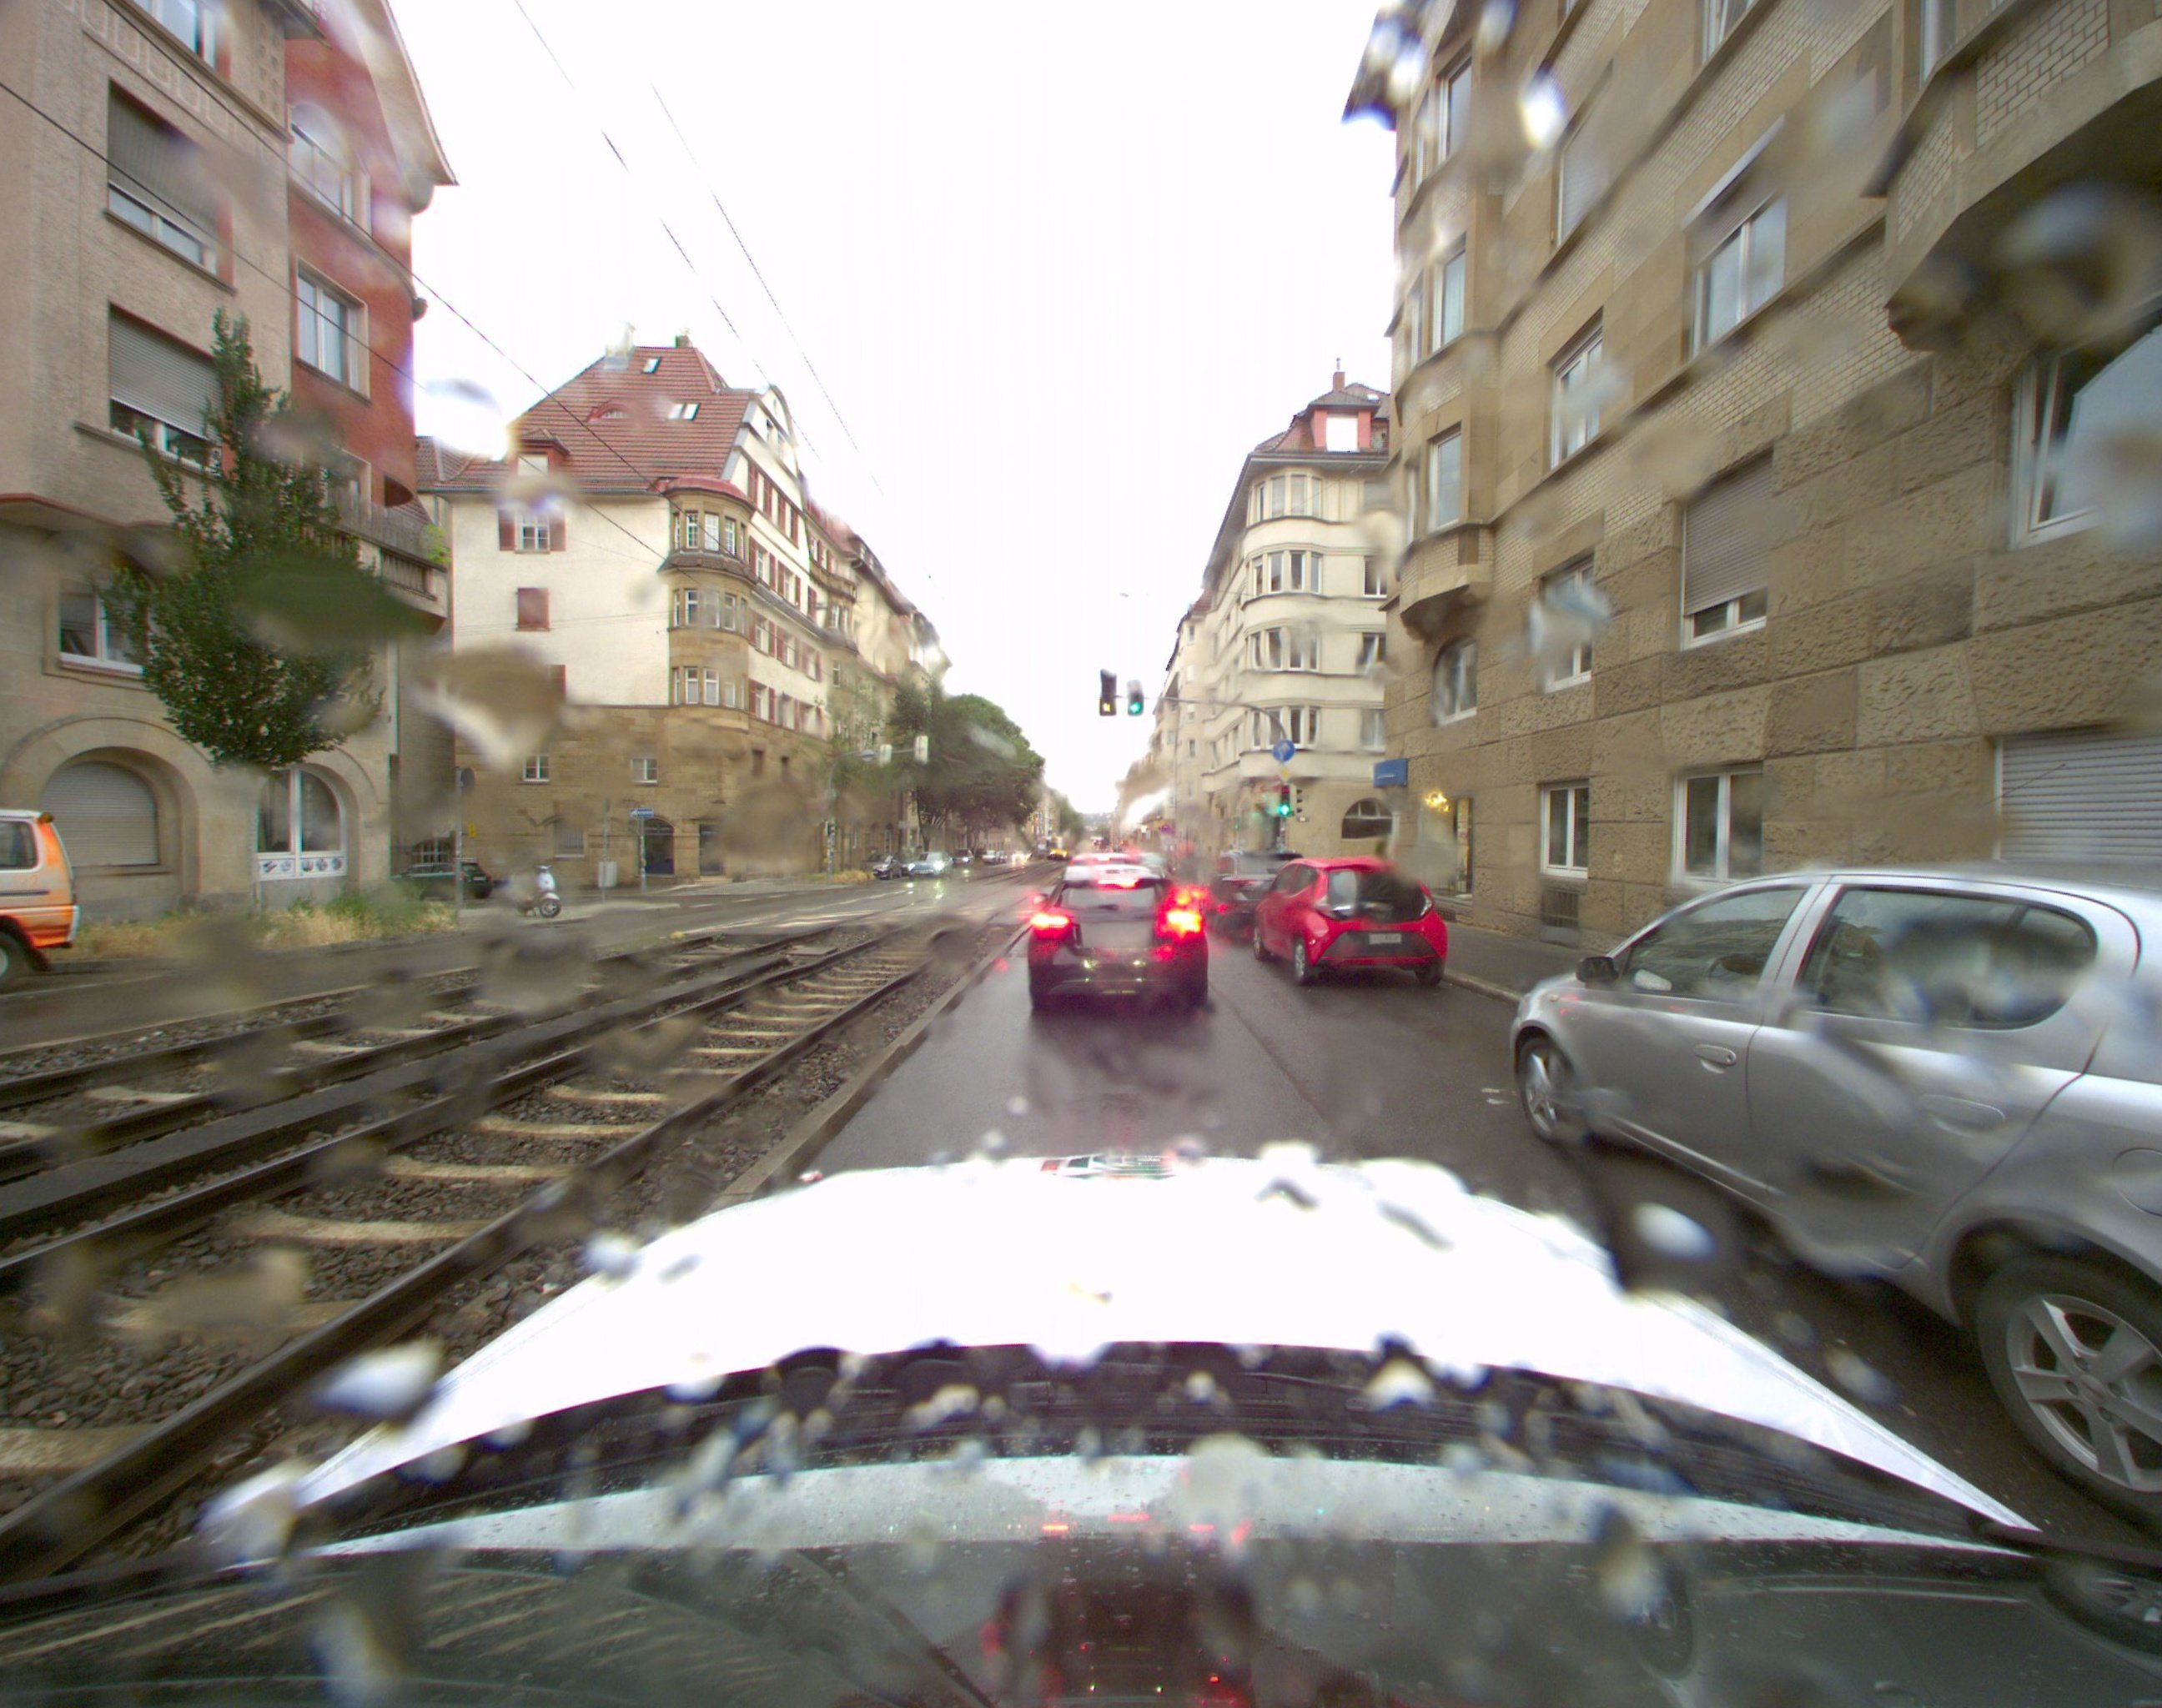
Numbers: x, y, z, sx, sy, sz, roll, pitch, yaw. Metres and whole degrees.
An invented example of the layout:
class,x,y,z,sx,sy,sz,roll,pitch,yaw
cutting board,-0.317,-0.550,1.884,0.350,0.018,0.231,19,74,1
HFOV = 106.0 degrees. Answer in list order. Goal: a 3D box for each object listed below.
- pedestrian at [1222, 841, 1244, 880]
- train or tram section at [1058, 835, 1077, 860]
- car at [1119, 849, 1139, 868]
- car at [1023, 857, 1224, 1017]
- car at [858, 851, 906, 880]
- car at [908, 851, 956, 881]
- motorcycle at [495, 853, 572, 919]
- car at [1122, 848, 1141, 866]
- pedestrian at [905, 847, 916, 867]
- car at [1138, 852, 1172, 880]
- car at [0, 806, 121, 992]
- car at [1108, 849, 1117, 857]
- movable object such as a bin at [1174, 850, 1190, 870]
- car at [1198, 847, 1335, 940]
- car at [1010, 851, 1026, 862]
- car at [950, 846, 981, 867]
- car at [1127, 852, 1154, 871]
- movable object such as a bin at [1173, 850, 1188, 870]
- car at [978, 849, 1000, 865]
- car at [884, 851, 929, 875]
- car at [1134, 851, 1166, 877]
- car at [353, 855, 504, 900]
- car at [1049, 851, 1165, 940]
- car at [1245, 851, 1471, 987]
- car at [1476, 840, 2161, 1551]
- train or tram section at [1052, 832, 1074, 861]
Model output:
class,x,y,z,sx,sy,sz,roll,pitch,yaw
pedestrian,6.674,0.274,35.809,0.801,1.687,0.754,0,-1,1
train or tram section,-2.301,-1.160,142.561,2.736,4.061,15.663,0,0,1
car,4.422,0.411,74.601,1.833,1.608,4.765,0,-1,4
car,0.449,0.769,9.405,1.828,1.453,3.903,0,0,2
car,-11.189,0.635,46.125,1.684,1.529,4.175,0,-1,0
car,-8.237,0.653,45.400,1.915,1.617,4.128,0,-1,0
motorcycle,-12.015,0.676,17.874,1.761,1.375,0.772,-1,-1,33
car,4.953,0.300,80.765,1.771,1.750,4.551,0,-1,2
pedestrian,-13.908,0.227,66.400,0.726,1.663,0.771,0,0,1
car,3.917,0.611,43.683,1.703,1.410,4.821,0,-1,3
car,-12.080,0.460,7.245,1.722,1.930,4.476,0,-1,0
car,6.531,-0.230,168.841,1.879,1.525,4.249,1,0,3
movable object such as a bin,7.415,0.421,59.775,0.976,1.468,1.273,0,-1,1
car,3.442,0.669,15.834,1.860,1.549,3.992,1,0,2
car,-8.719,0.349,113.035,1.775,1.502,4.062,0,-1,0
car,-10.240,0.174,72.560,1.946,1.742,4.778,3,1,0
car,4.492,0.537,62.005,1.783,1.385,4.396,0,-1,1
movable object such as a bin,7.483,0.434,61.336,1.014,1.468,1.323,0,-1,1
car,-10.119,0.300,89.766,1.954,1.605,4.329,1,1,1
car,-10.992,0.563,51.681,1.775,1.460,4.978,0,-1,0
car,4.118,0.612,49.050,1.705,1.468,4.775,0,-1,2
car,-24.446,0.862,30.646,3.977,1.574,1.998,0,-1,-2
car,0.516,0.717,16.251,1.986,1.525,4.247,1,0,2
car,3.345,0.702,10.560,1.700,1.453,3.531,1,0,-1
car,3.098,0.705,3.077,1.588,1.487,3.524,-1,0,2
train or tram section,-2.643,-1.148,126.321,2.736,4.061,17.216,0,0,1
